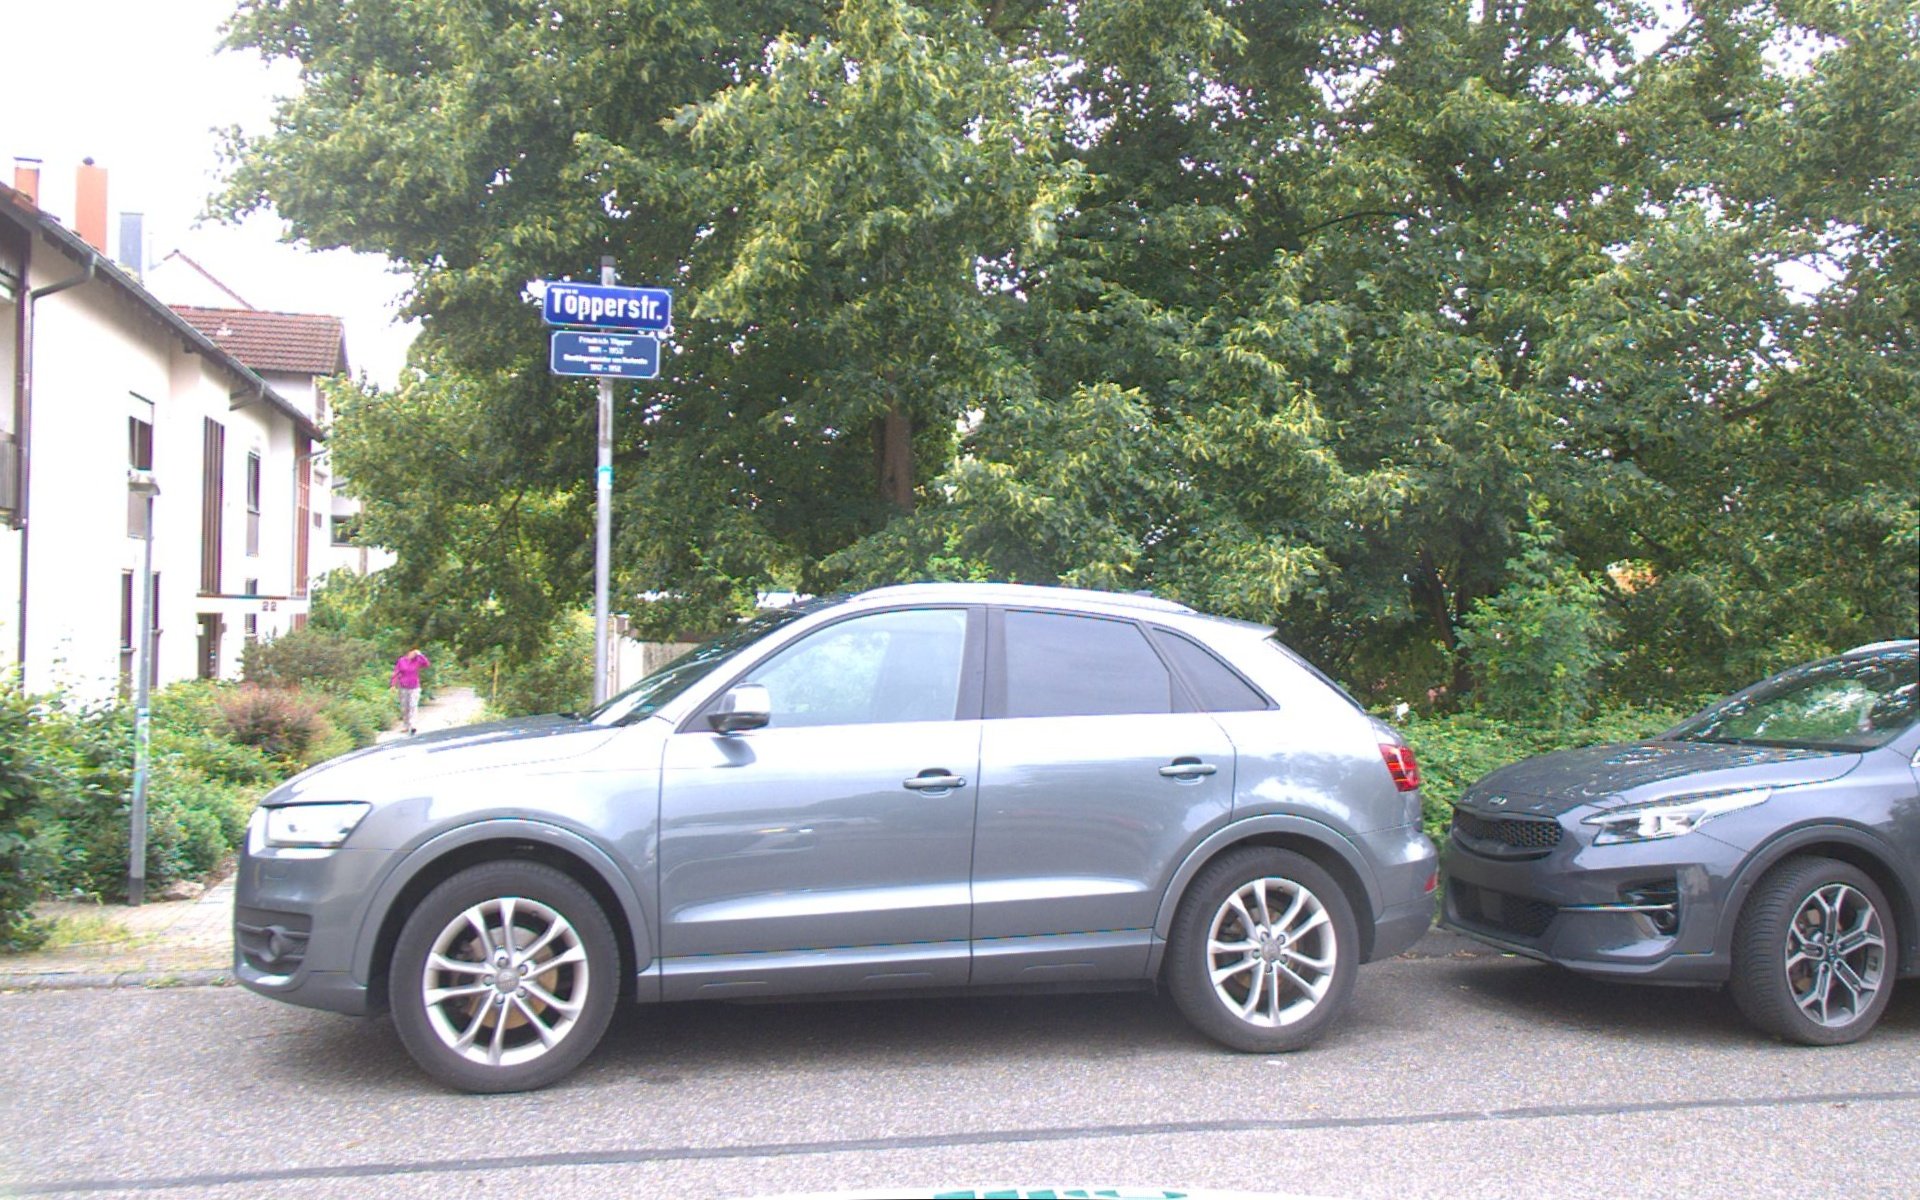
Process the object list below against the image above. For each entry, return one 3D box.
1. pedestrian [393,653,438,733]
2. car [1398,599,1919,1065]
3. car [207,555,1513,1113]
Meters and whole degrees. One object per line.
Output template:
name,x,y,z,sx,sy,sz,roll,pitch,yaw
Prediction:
pedestrian,-10.613,1.806,32.274,0.802,1.544,0.436,1,-1,-17
car,4.091,0.839,6.791,4.105,1.558,1.743,1,-2,-10
car,-0.300,0.721,6.040,4.167,1.558,1.740,1,-2,-15
